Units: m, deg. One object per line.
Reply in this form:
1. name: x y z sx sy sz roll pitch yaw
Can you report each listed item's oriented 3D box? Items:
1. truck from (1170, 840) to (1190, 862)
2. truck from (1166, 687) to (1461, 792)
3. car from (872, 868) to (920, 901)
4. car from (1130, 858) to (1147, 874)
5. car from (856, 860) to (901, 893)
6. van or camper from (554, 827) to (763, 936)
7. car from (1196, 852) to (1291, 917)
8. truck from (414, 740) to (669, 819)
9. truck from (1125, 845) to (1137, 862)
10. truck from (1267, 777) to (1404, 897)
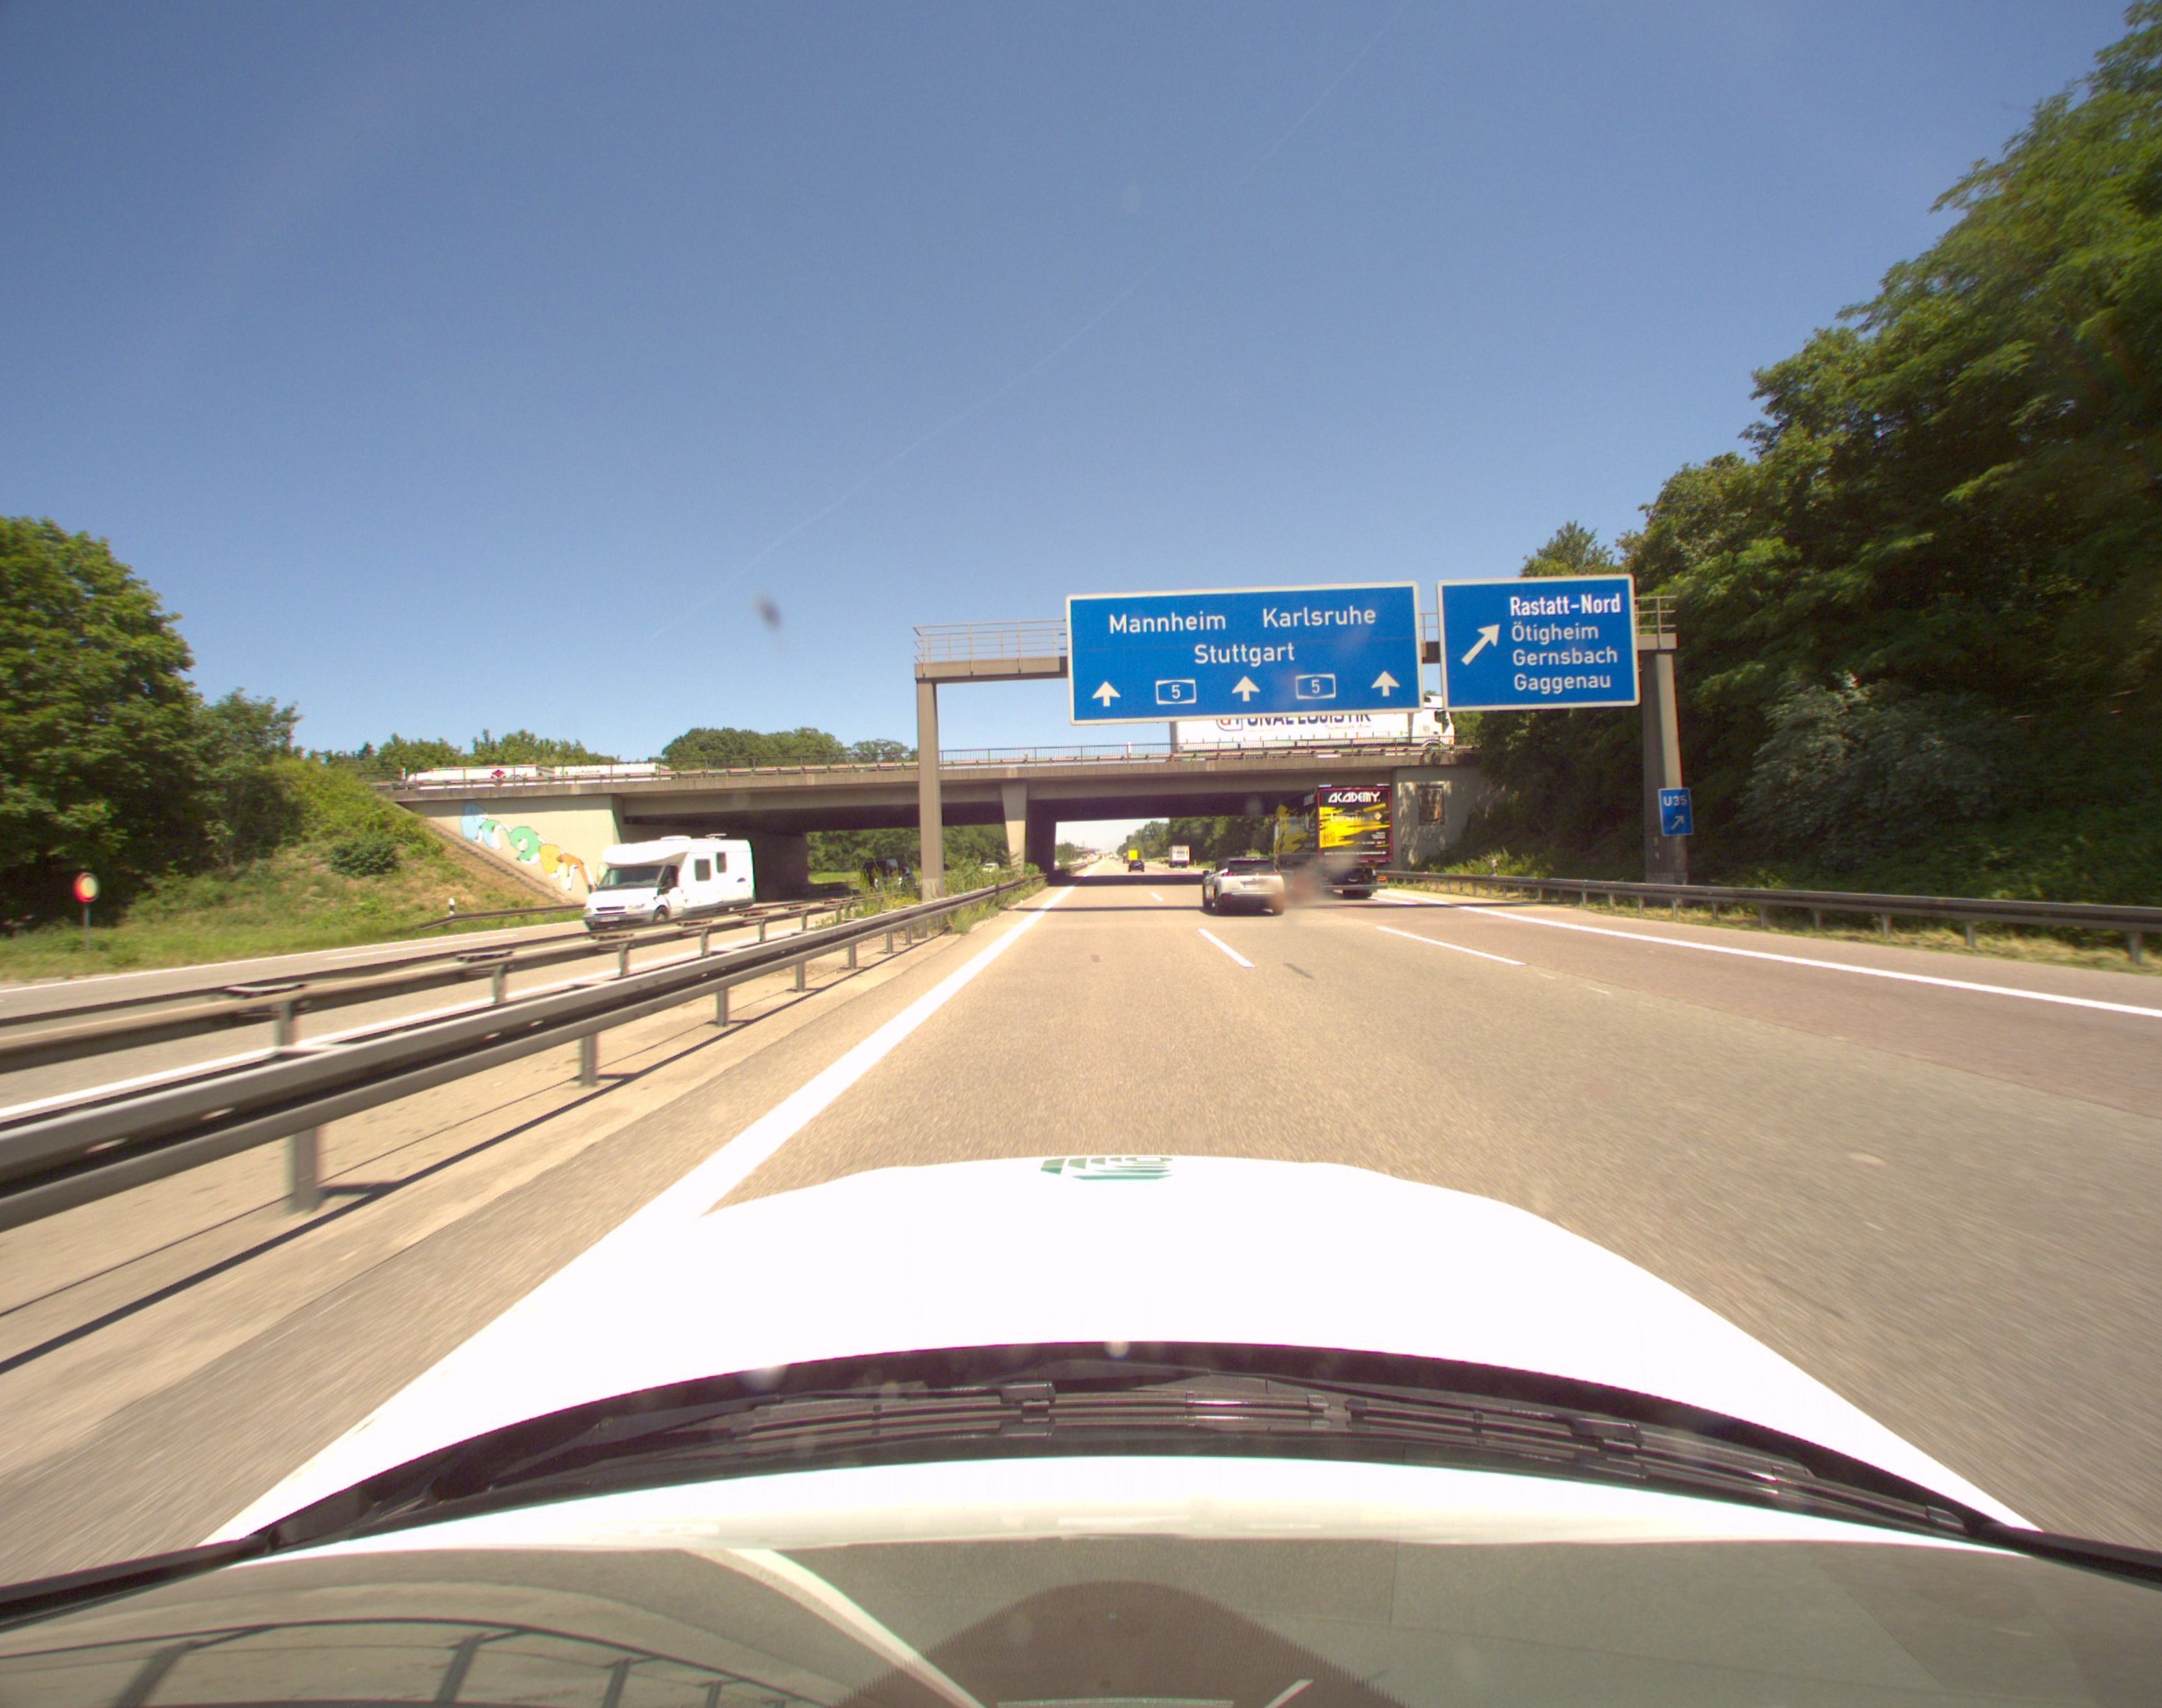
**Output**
1. truck: 15.817 -0.381 130.407 3.013 3.319 10.788 -1 -1 6
2. truck: 13.376 -6.581 47.556 16.425 5.566 3.171 0 -1 -4
3. car: -10.938 1.753 48.447 1.685 1.816 4.714 0 -1 0
4. car: 6.582 1.357 93.417 1.820 1.706 4.001 0 -1 1
5. car: -15.713 1.696 63.520 2.082 2.399 5.734 0 -1 0
6. van or camper: -12.780 0.779 25.547 2.582 2.907 7.236 0 -1 2
7. car: 4.416 0.792 22.876 1.820 1.608 4.810 -1 -1 1
8. truck: -40.475 -5.539 61.670 16.438 5.566 3.168 0 -1 -6
9. truck: 15.135 -0.010 246.729 3.363 4.881 15.095 -1 -1 3
10. truck: 9.826 -0.533 32.938 2.961 4.037 10.994 0 -1 5
